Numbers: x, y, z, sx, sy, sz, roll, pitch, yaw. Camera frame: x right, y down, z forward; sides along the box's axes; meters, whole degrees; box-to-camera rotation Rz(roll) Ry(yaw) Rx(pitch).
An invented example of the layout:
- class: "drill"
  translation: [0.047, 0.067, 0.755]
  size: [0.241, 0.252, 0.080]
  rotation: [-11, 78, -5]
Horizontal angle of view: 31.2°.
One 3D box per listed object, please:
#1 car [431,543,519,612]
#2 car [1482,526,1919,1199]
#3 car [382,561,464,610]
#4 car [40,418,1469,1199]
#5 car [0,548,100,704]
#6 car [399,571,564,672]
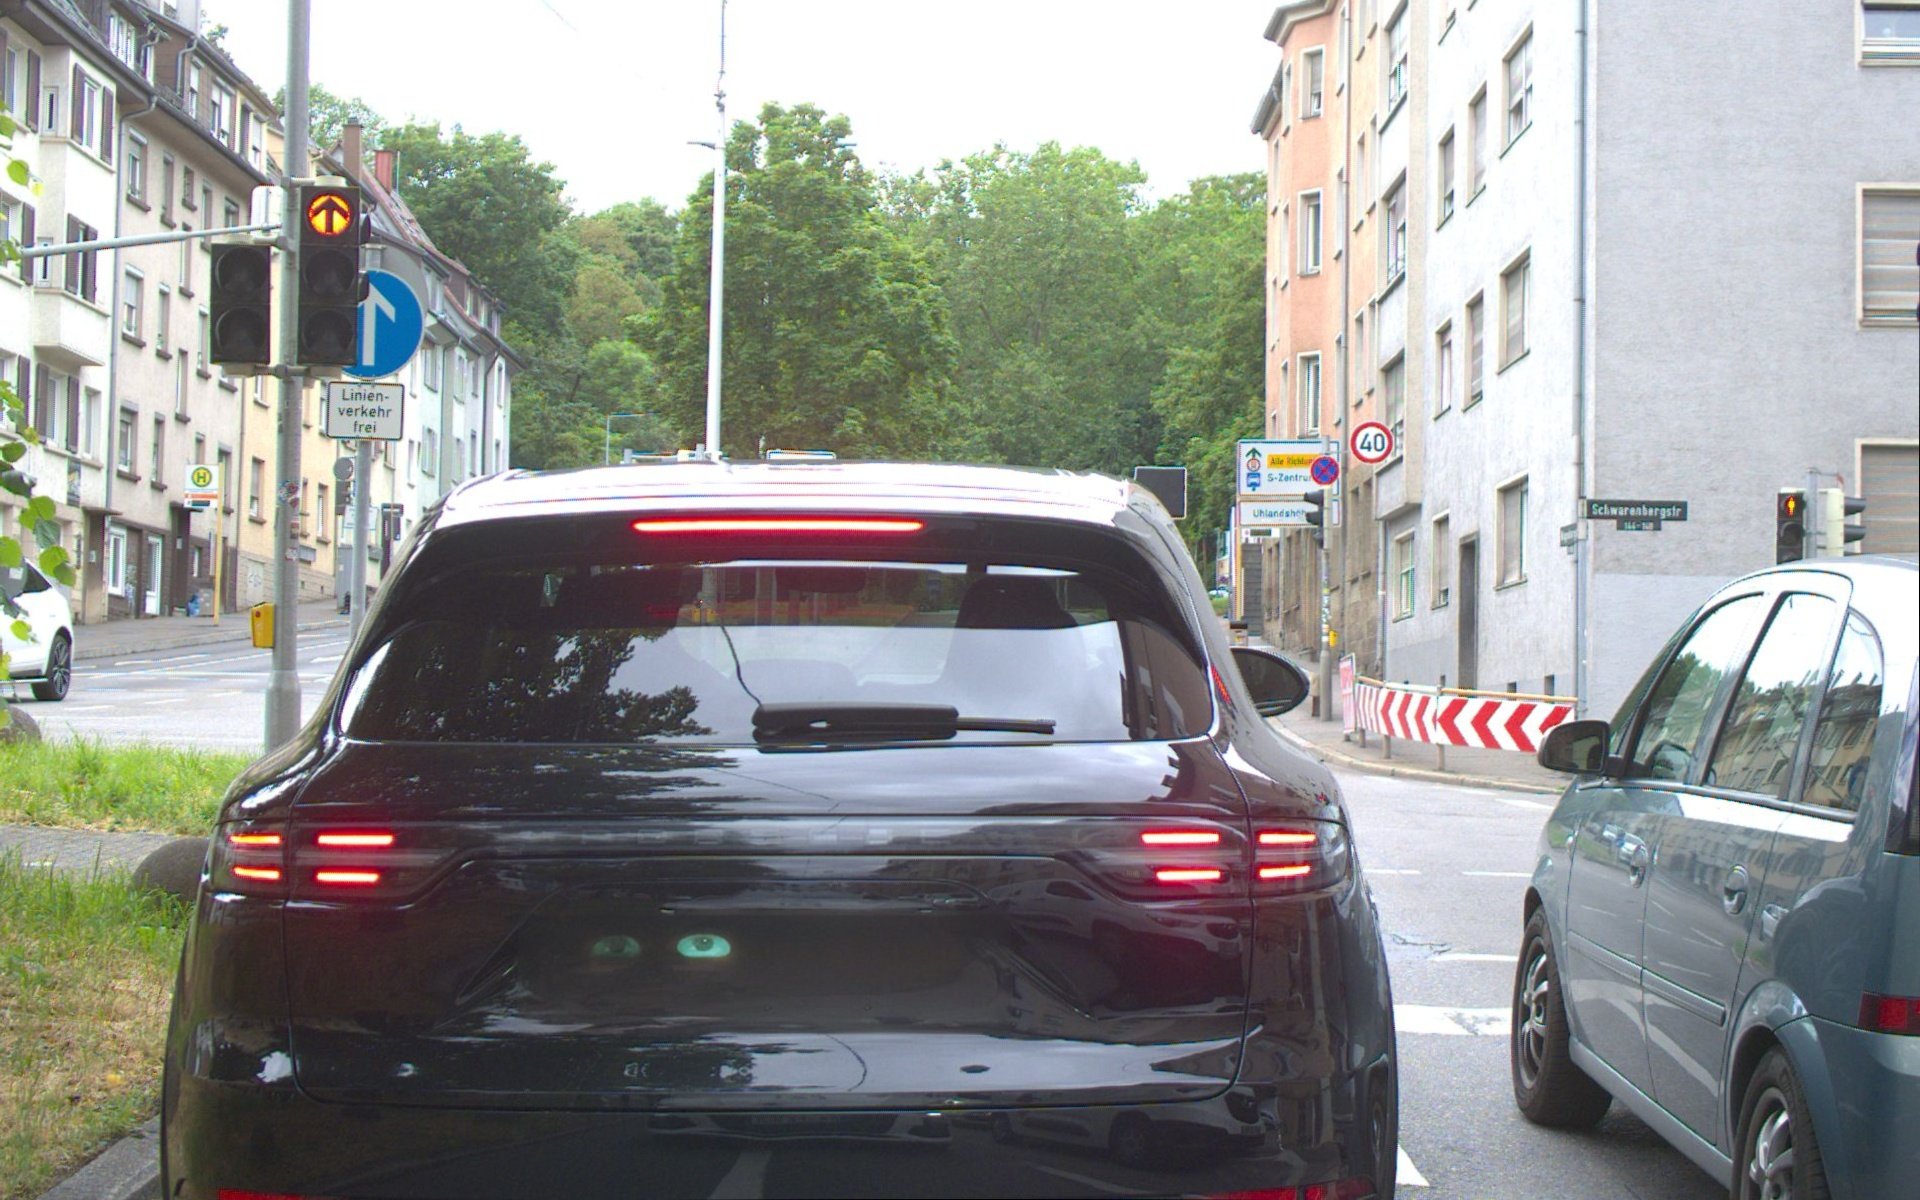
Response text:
- class: "car"
  translation: [-14.734, -0.699, 104.628]
  size: [2.016, 2.038, 4.667]
  rotation: [1, 1, 0]
- class: "car"
  translation: [2.361, 0.698, 7.881]
  size: [1.628, 1.592, 3.669]
  rotation: [4, 1, -1]
- class: "car"
  translation: [-15.413, -0.428, 98.809]
  size: [1.739, 1.382, 3.814]
  rotation: [1, 1, 0]
- class: "car"
  translation: [-0.304, 0.567, 6.714]
  size: [1.955, 1.669, 4.000]
  rotation: [0, 1, -1]
- class: "car"
  translation: [-10.794, 0.238, 36.739]
  size: [1.974, 1.605, 4.558]
  rotation: [1, 1, 1]
- class: "car"
  translation: [-6.993, 0.286, 50.584]
  size: [1.862, 1.383, 4.094]
  rotation: [1, 1, 0]
